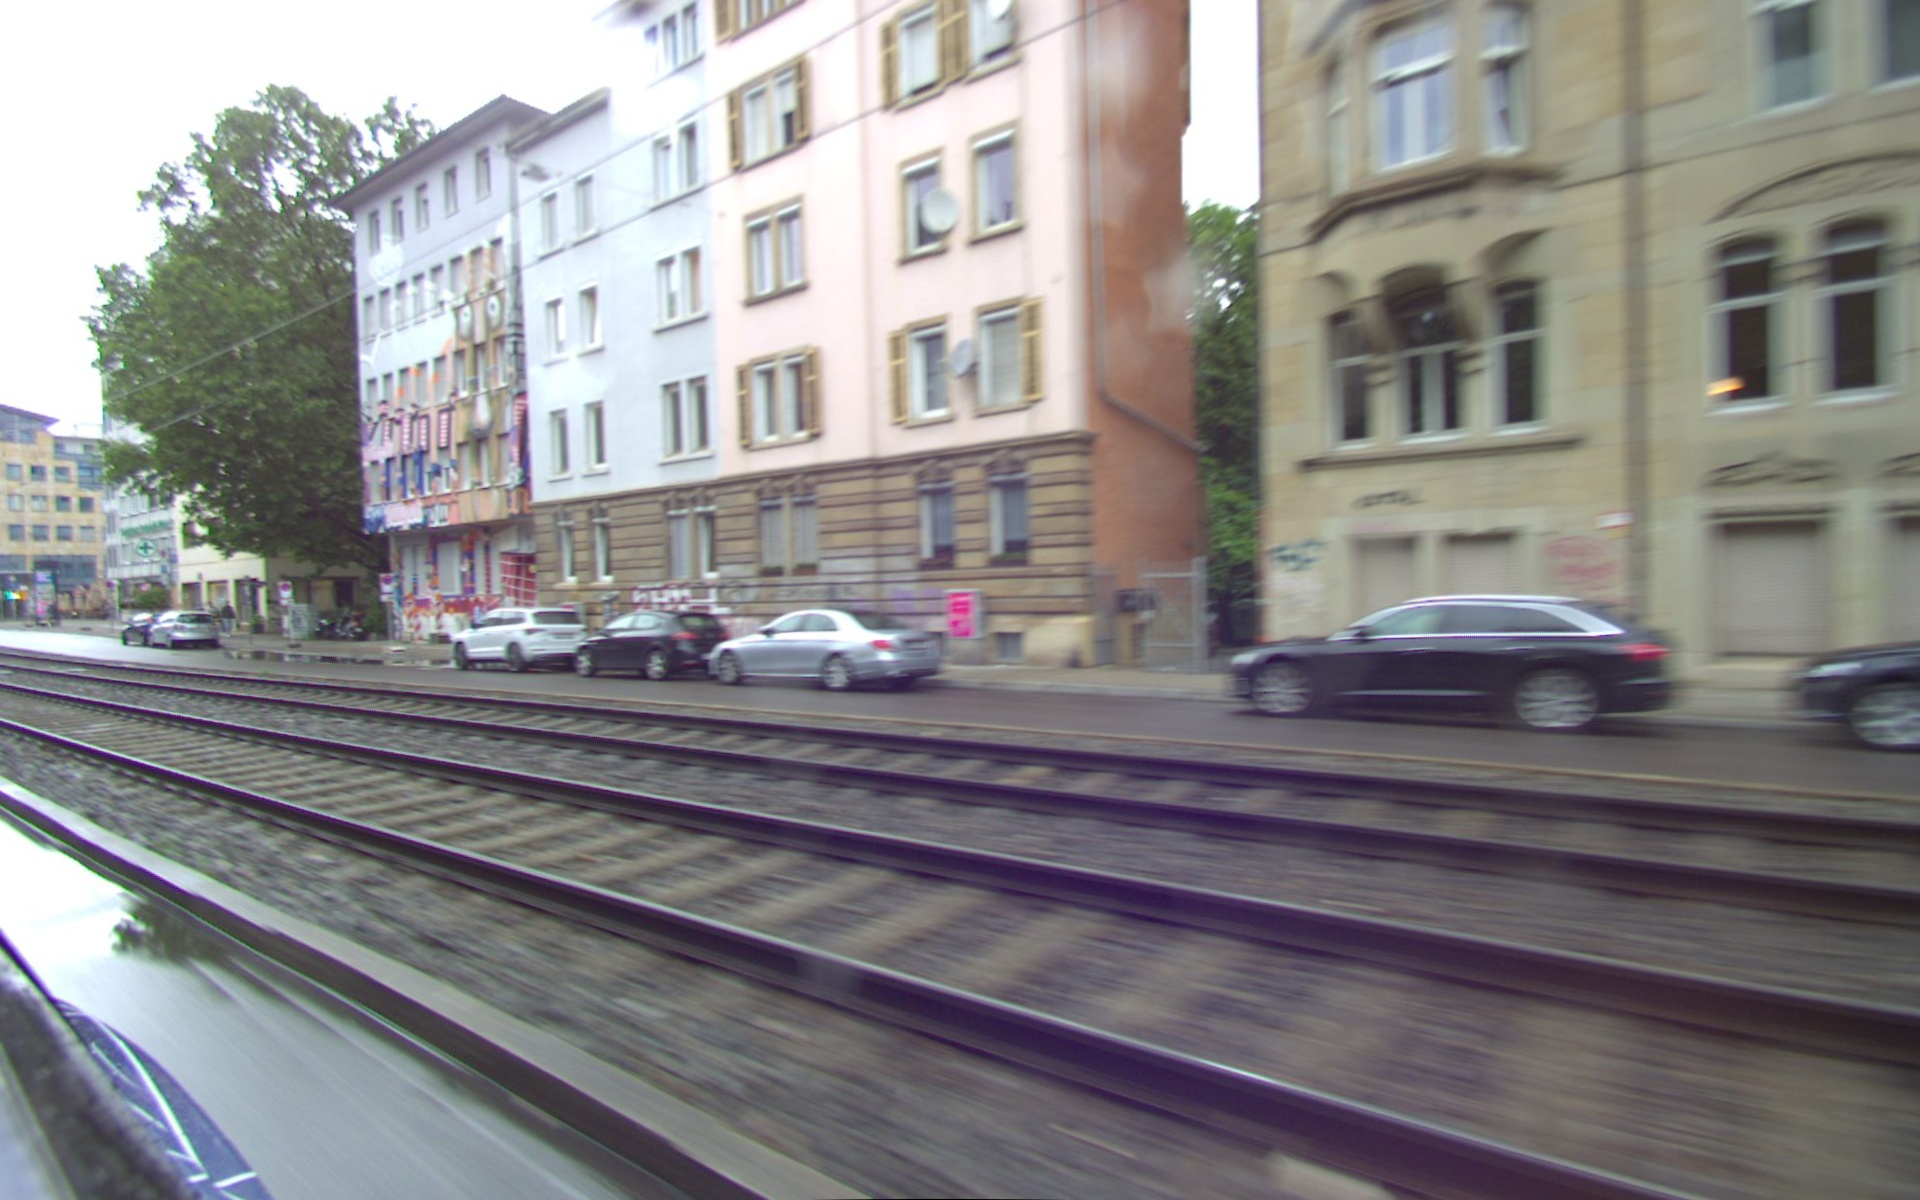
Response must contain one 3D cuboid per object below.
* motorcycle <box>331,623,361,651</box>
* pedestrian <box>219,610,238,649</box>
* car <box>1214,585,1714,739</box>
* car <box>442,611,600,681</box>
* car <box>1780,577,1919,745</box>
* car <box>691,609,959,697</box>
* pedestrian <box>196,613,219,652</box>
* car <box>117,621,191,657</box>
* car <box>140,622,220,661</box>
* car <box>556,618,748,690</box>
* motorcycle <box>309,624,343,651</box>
[{"bbox_3d":[-26.308,1.580,43.337,2.015,1.190,0.432,-2,0,39],"label":"motorcycle"},{"bbox_3d":[-35.906,1.442,49.663,0.536,1.883,0.643,-2,-1,41],"label":"pedestrian"},{"bbox_3d":[5.771,0.679,11.971,5.014,1.467,1.975,-2,-3,38],"label":"car"},{"bbox_3d":[-11.118,1.129,25.514,4.220,1.617,1.821,-2,-2,37],"label":"car"},{"bbox_3d":[9.861,0.534,8.787,4.164,1.467,1.720,-2,-3,38],"label":"car"},{"bbox_3d":[-2.585,0.943,18.596,5.016,1.408,1.974,-2,-3,39],"label":"car"},{"bbox_3d":[-36.566,1.584,49.186,0.536,1.883,0.799,-2,-1,41],"label":"pedestrian"},{"bbox_3d":[-36.989,1.777,46.408,4.223,1.553,1.820,-2,-2,39],"label":"car"},{"bbox_3d":[-33.452,1.763,43.371,4.223,1.553,1.820,-2,-2,39],"label":"car"},{"bbox_3d":[-6.726,1.113,21.914,4.258,1.408,1.821,-2,-1,37],"label":"car"},{"bbox_3d":[-28.244,1.674,45.059,2.563,1.154,0.467,-2,0,39],"label":"motorcycle"}]
